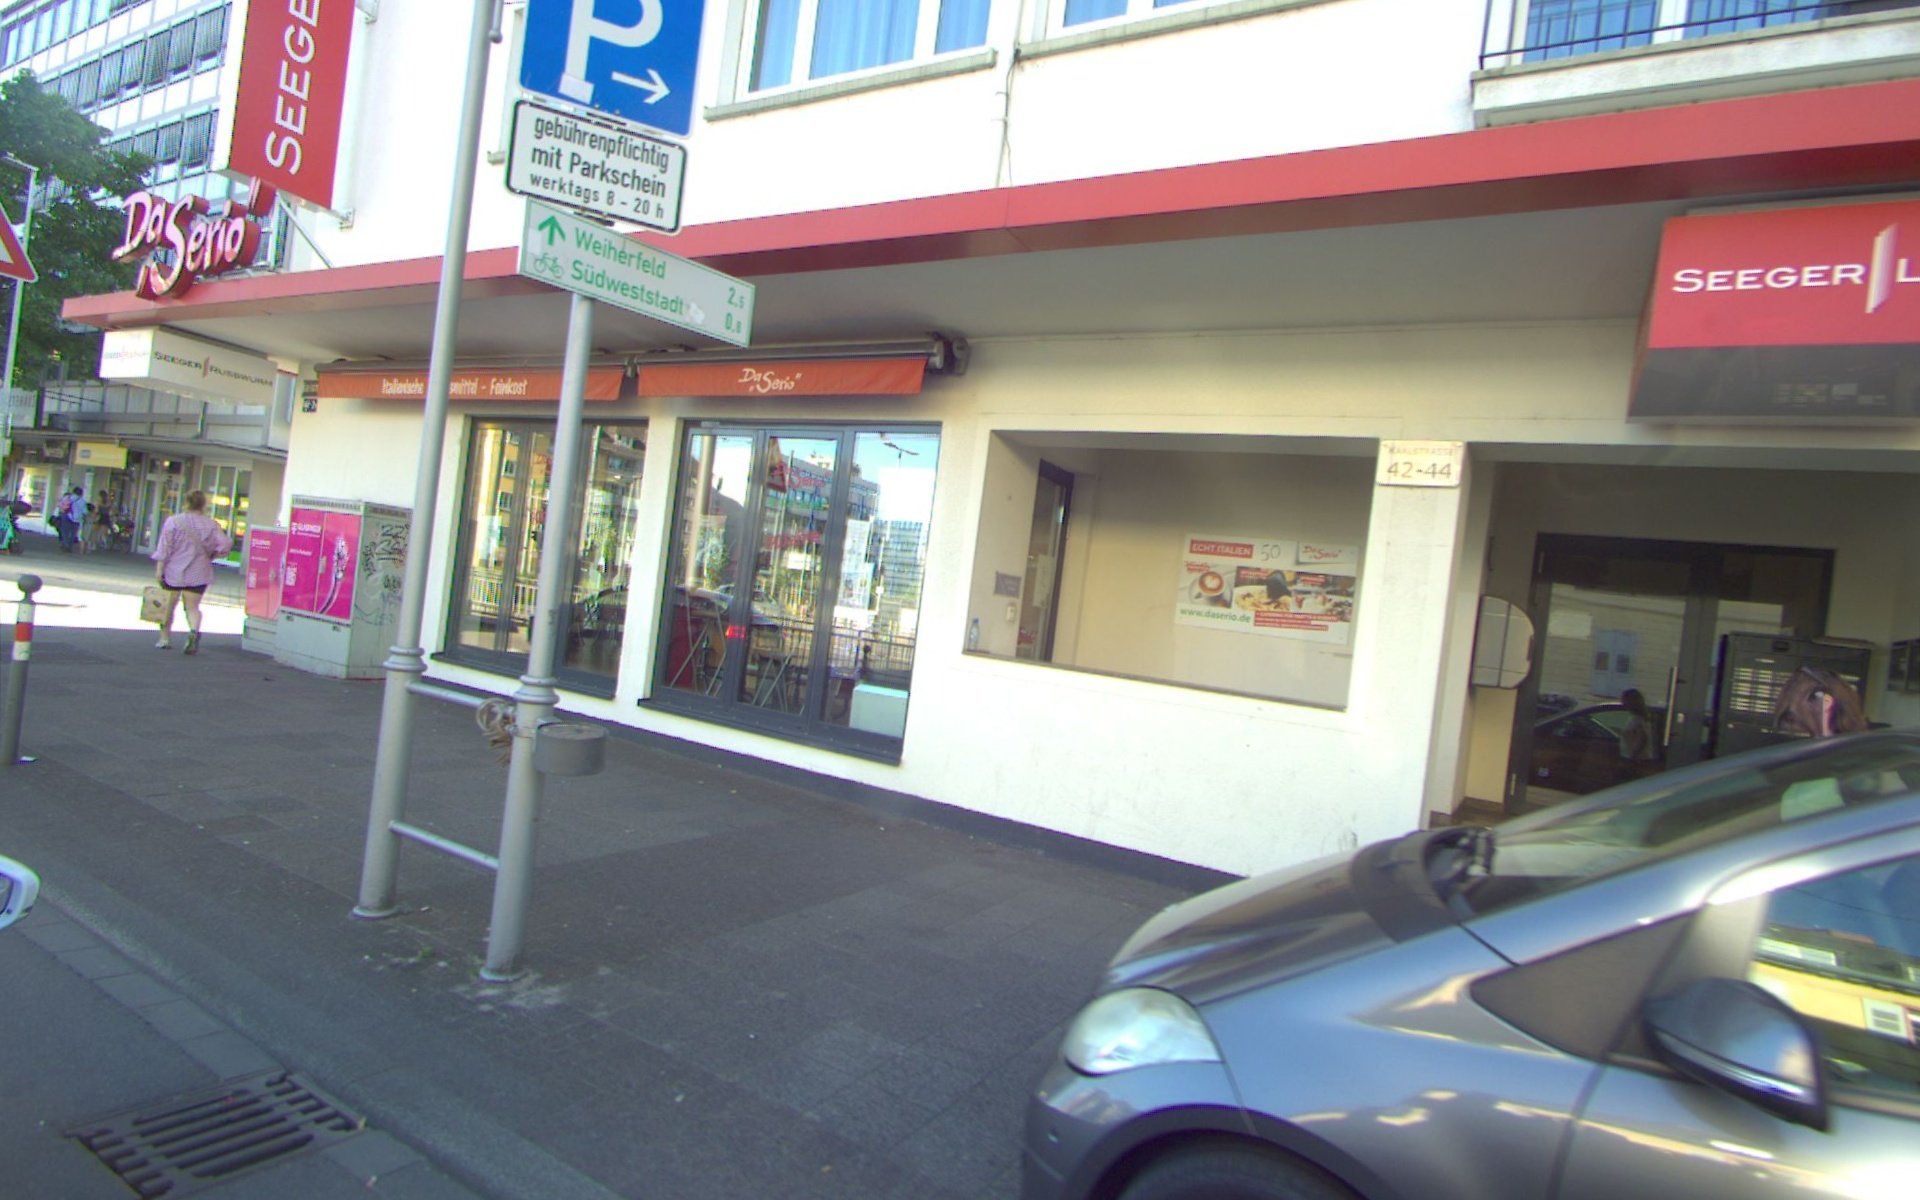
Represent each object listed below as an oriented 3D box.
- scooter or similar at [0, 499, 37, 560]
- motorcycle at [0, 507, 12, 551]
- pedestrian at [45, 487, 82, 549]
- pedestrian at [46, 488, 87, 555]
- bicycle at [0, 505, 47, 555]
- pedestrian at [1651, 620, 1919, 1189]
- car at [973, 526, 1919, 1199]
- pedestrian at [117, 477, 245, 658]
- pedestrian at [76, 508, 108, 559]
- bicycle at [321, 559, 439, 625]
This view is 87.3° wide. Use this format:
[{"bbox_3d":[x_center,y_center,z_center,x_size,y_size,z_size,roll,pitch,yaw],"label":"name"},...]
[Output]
[{"bbox_3d":[-22.366,-1.688,23.185,0.683,1.332,1.415,6,-1,6],"label":"scooter or similar"},{"bbox_3d":[-25.798,-1.994,25.790,0.586,1.140,1.997,7,-3,30],"label":"motorcycle"},{"bbox_3d":[-25.459,-2.321,28.570,0.597,1.662,0.531,7,1,32],"label":"pedestrian"},{"bbox_3d":[-23.628,-2.076,26.606,0.458,1.662,0.595,7,1,32],"label":"pedestrian"},{"bbox_3d":[-24.075,-1.827,24.880,0.475,1.134,2.055,7,-2,32],"label":"bicycle"},{"bbox_3d":[3.252,1.043,3.765,0.918,1.796,0.804,7,0,35],"label":"pedestrian"},{"bbox_3d":[2.047,0.928,1.801,3.588,1.652,1.747,7,1,31],"label":"car"},{"bbox_3d":[-8.006,-0.320,10.384,0.813,1.702,0.708,9,-2,-36],"label":"pedestrian"},{"bbox_3d":[-23.376,-1.789,27.083,0.522,1.296,0.420,7,0,32],"label":"pedestrian"},{"bbox_3d":[-12.379,-0.157,21.507,1.967,1.084,0.766,11,-3,-41],"label":"bicycle"}]
